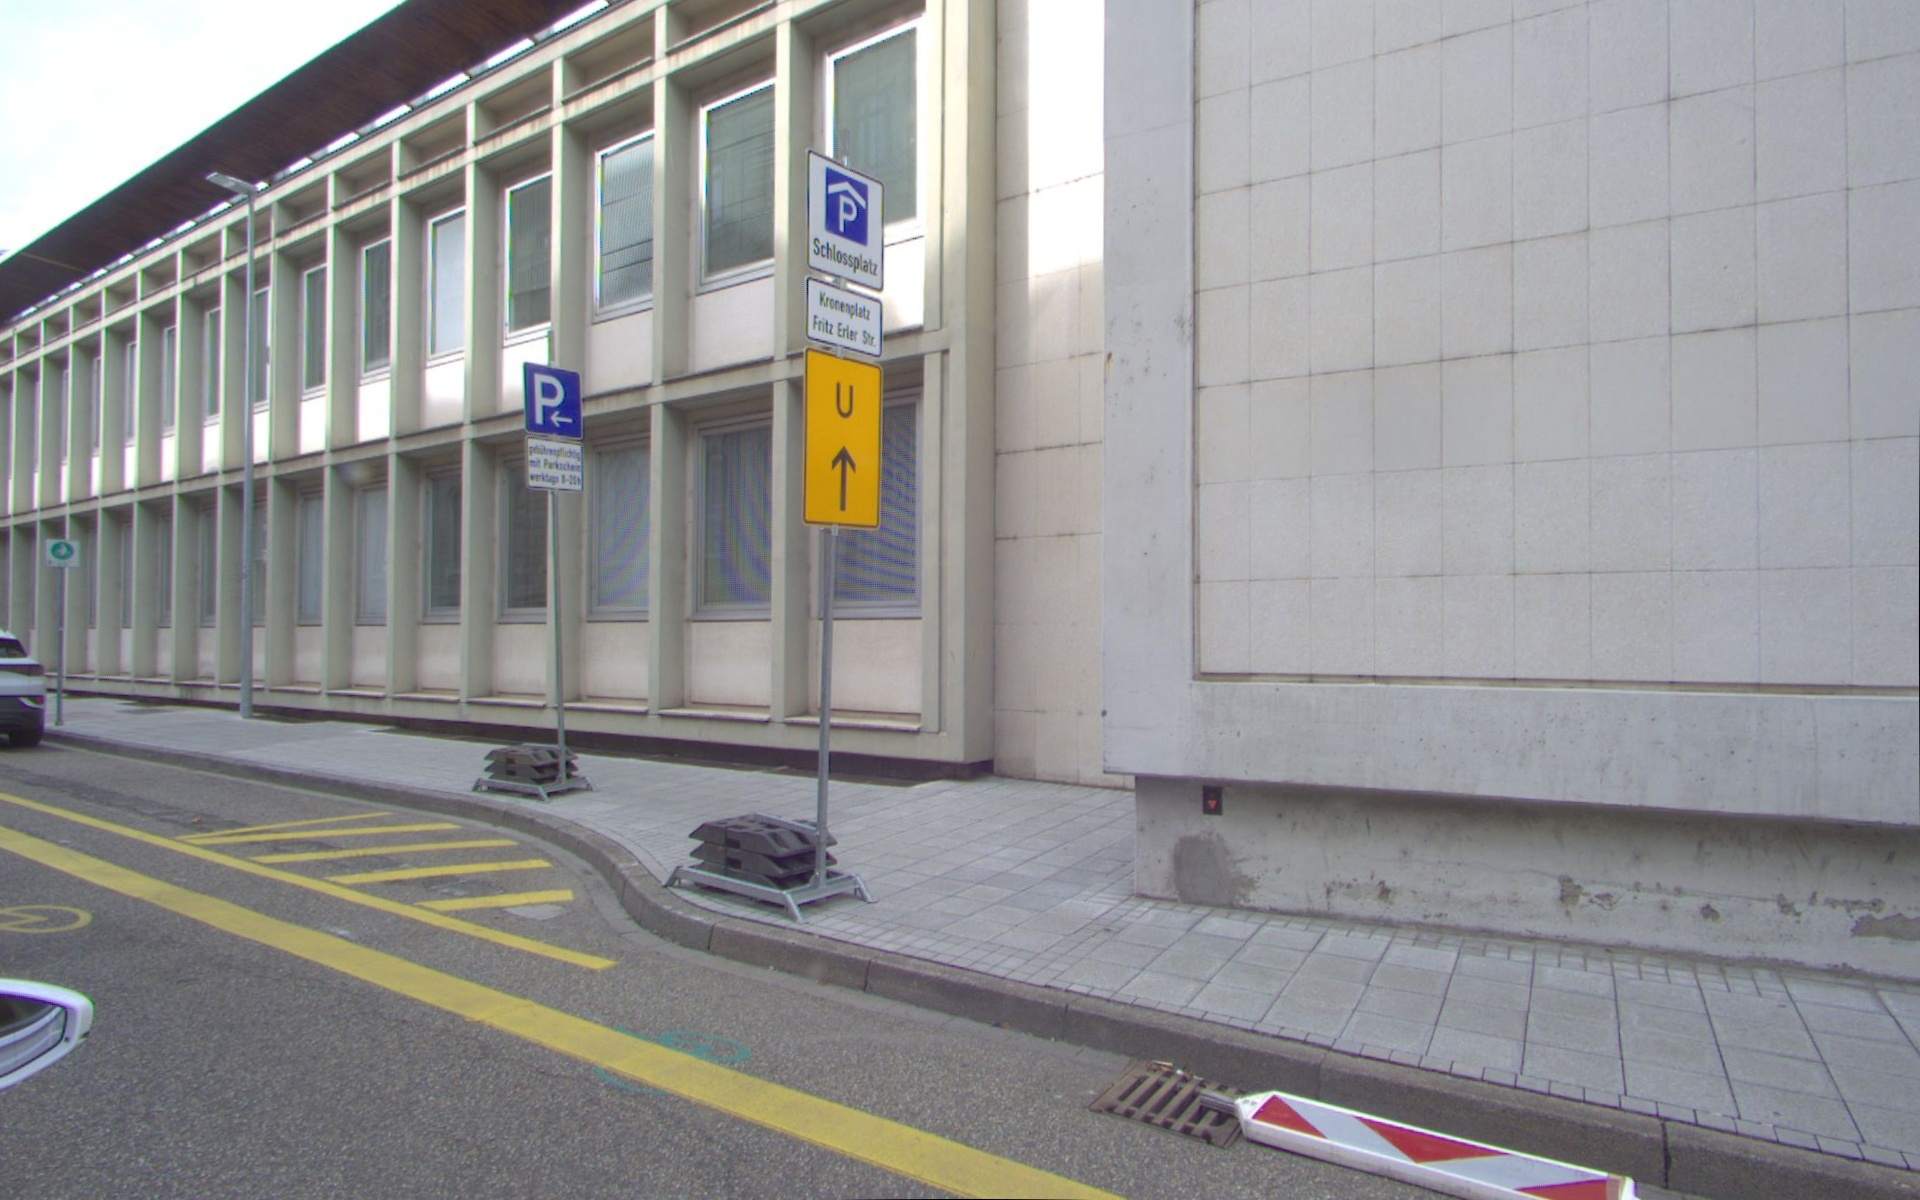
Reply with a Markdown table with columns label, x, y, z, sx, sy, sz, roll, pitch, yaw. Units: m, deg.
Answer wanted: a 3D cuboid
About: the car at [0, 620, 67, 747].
| label | x | y | z | sx | sy | sz | roll | pitch | yaw |
| --- | --- | --- | --- | --- | --- | --- | --- | --- | --- |
| car | -14.379 | 1.099 | 13.955 | 4.452 | 1.624 | 1.857 | -1 | -5 | 35 |
